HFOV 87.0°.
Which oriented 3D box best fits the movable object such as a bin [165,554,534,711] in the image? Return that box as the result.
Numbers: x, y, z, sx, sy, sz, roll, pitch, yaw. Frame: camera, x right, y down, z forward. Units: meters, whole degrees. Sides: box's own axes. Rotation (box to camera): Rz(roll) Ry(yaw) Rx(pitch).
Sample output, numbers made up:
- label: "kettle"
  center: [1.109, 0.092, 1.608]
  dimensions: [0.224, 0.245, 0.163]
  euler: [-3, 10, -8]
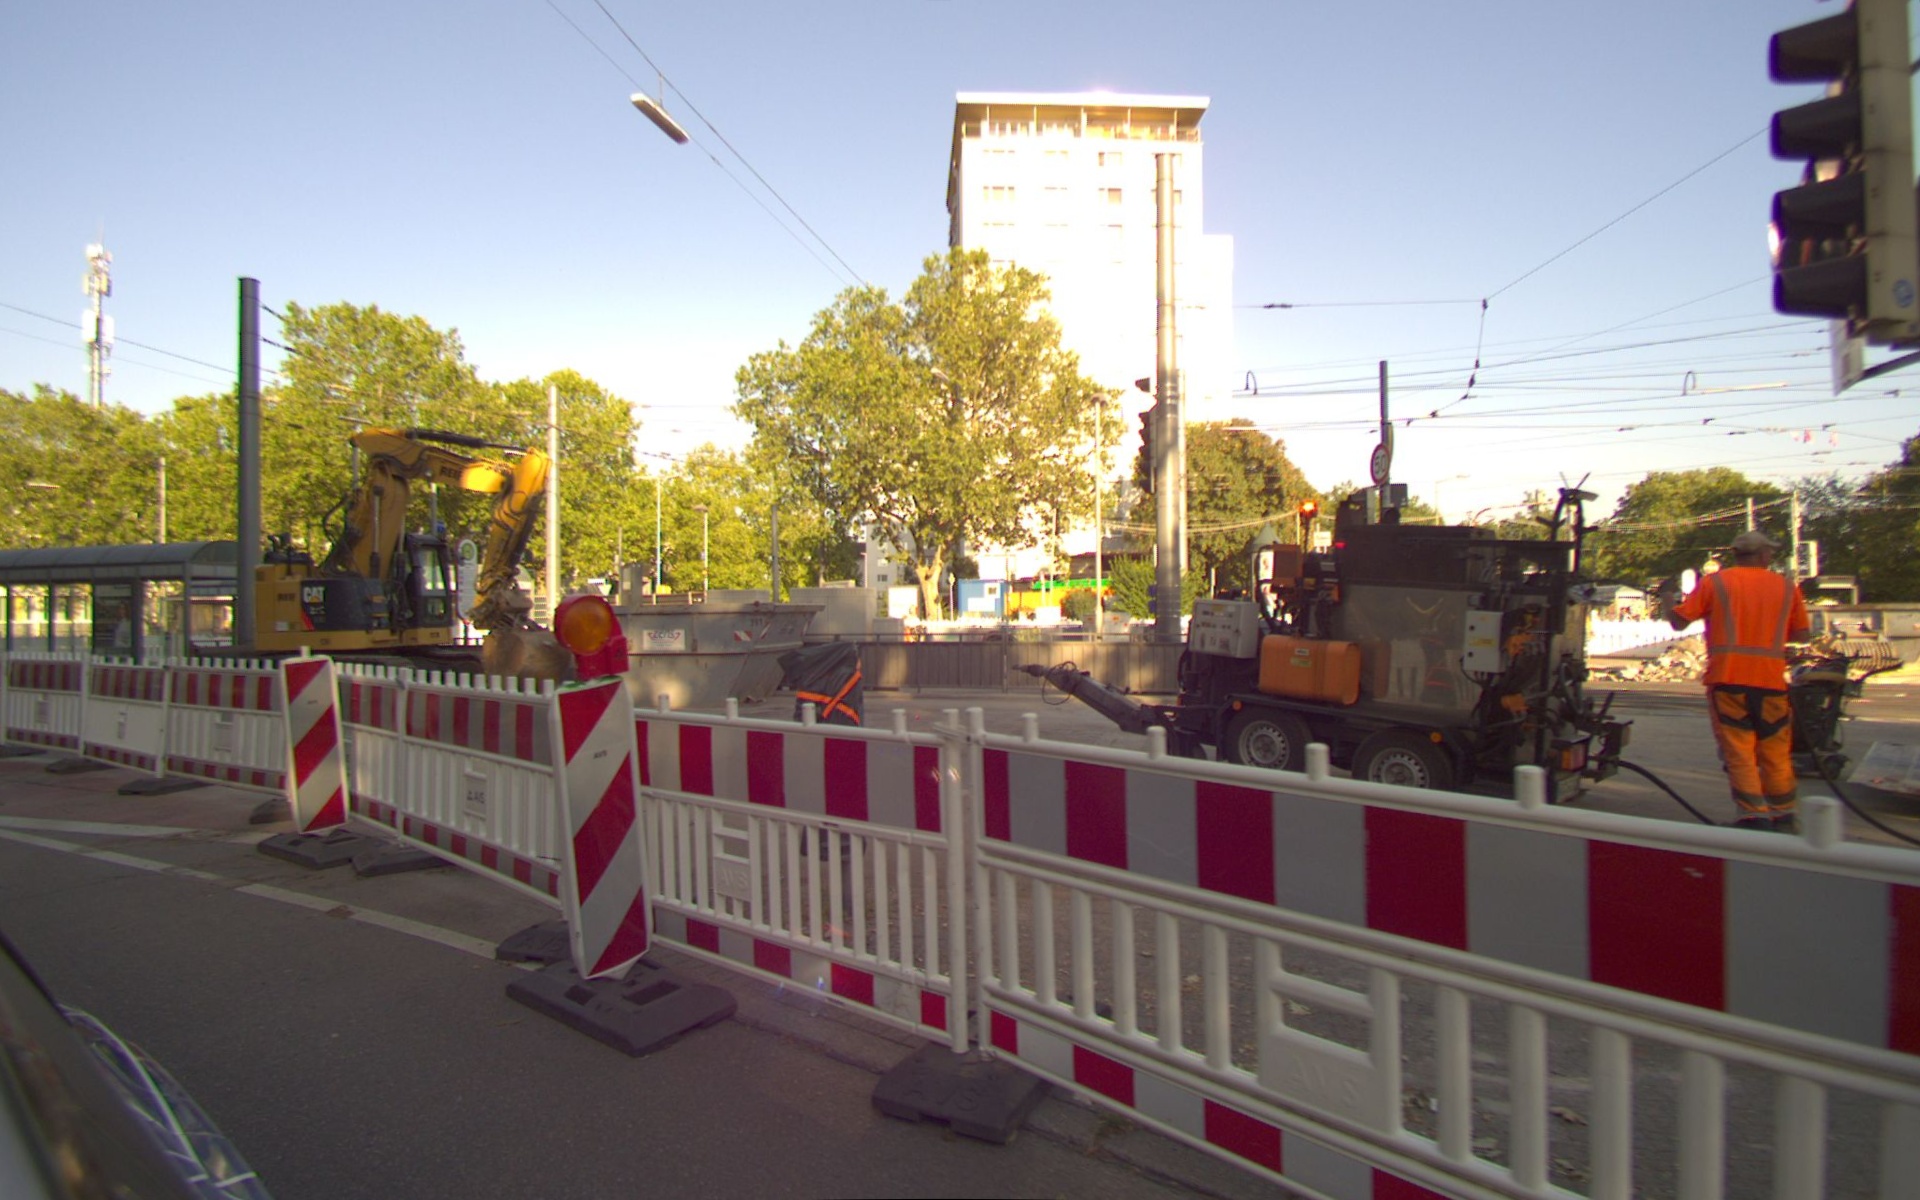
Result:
- label: "movable object such as a bin"
  center: [-10.098, 0.552, 16.944]
  dimensions: [4.854, 2.335, 2.640]
  euler: [-1, -1, 14]

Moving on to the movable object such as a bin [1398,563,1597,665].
- label: "movable object such as a bin"
  center: [14.754, 0.437, 28.116]
  dimensions: [4.566, 2.659, 2.143]
  euler: [-1, -2, 21]

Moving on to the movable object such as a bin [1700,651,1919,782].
- label: "movable object such as a bin"
  center: [6.830, 0.879, 7.958]
  dimensions: [1.410, 0.924, 0.929]
  euler: [-1, -1, 21]

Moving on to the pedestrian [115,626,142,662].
- label: "pedestrian"
  center: [-48.004, 2.513, 58.430]
  dimensions: [0.878, 2.029, 0.881]
  euler: [-1, -1, 11]

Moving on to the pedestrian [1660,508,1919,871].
- label: "pedestrian"
  center: [4.661, 0.461, 5.749]
  dimensions: [1.067, 1.812, 0.964]
  euler: [-2, -1, 36]

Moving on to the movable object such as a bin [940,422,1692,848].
- label: "movable object such as a bin"
  center: [2.360, 0.229, 7.971]
  dimensions: [1.970, 2.273, 5.212]
  euler: [-2, 0, -44]
